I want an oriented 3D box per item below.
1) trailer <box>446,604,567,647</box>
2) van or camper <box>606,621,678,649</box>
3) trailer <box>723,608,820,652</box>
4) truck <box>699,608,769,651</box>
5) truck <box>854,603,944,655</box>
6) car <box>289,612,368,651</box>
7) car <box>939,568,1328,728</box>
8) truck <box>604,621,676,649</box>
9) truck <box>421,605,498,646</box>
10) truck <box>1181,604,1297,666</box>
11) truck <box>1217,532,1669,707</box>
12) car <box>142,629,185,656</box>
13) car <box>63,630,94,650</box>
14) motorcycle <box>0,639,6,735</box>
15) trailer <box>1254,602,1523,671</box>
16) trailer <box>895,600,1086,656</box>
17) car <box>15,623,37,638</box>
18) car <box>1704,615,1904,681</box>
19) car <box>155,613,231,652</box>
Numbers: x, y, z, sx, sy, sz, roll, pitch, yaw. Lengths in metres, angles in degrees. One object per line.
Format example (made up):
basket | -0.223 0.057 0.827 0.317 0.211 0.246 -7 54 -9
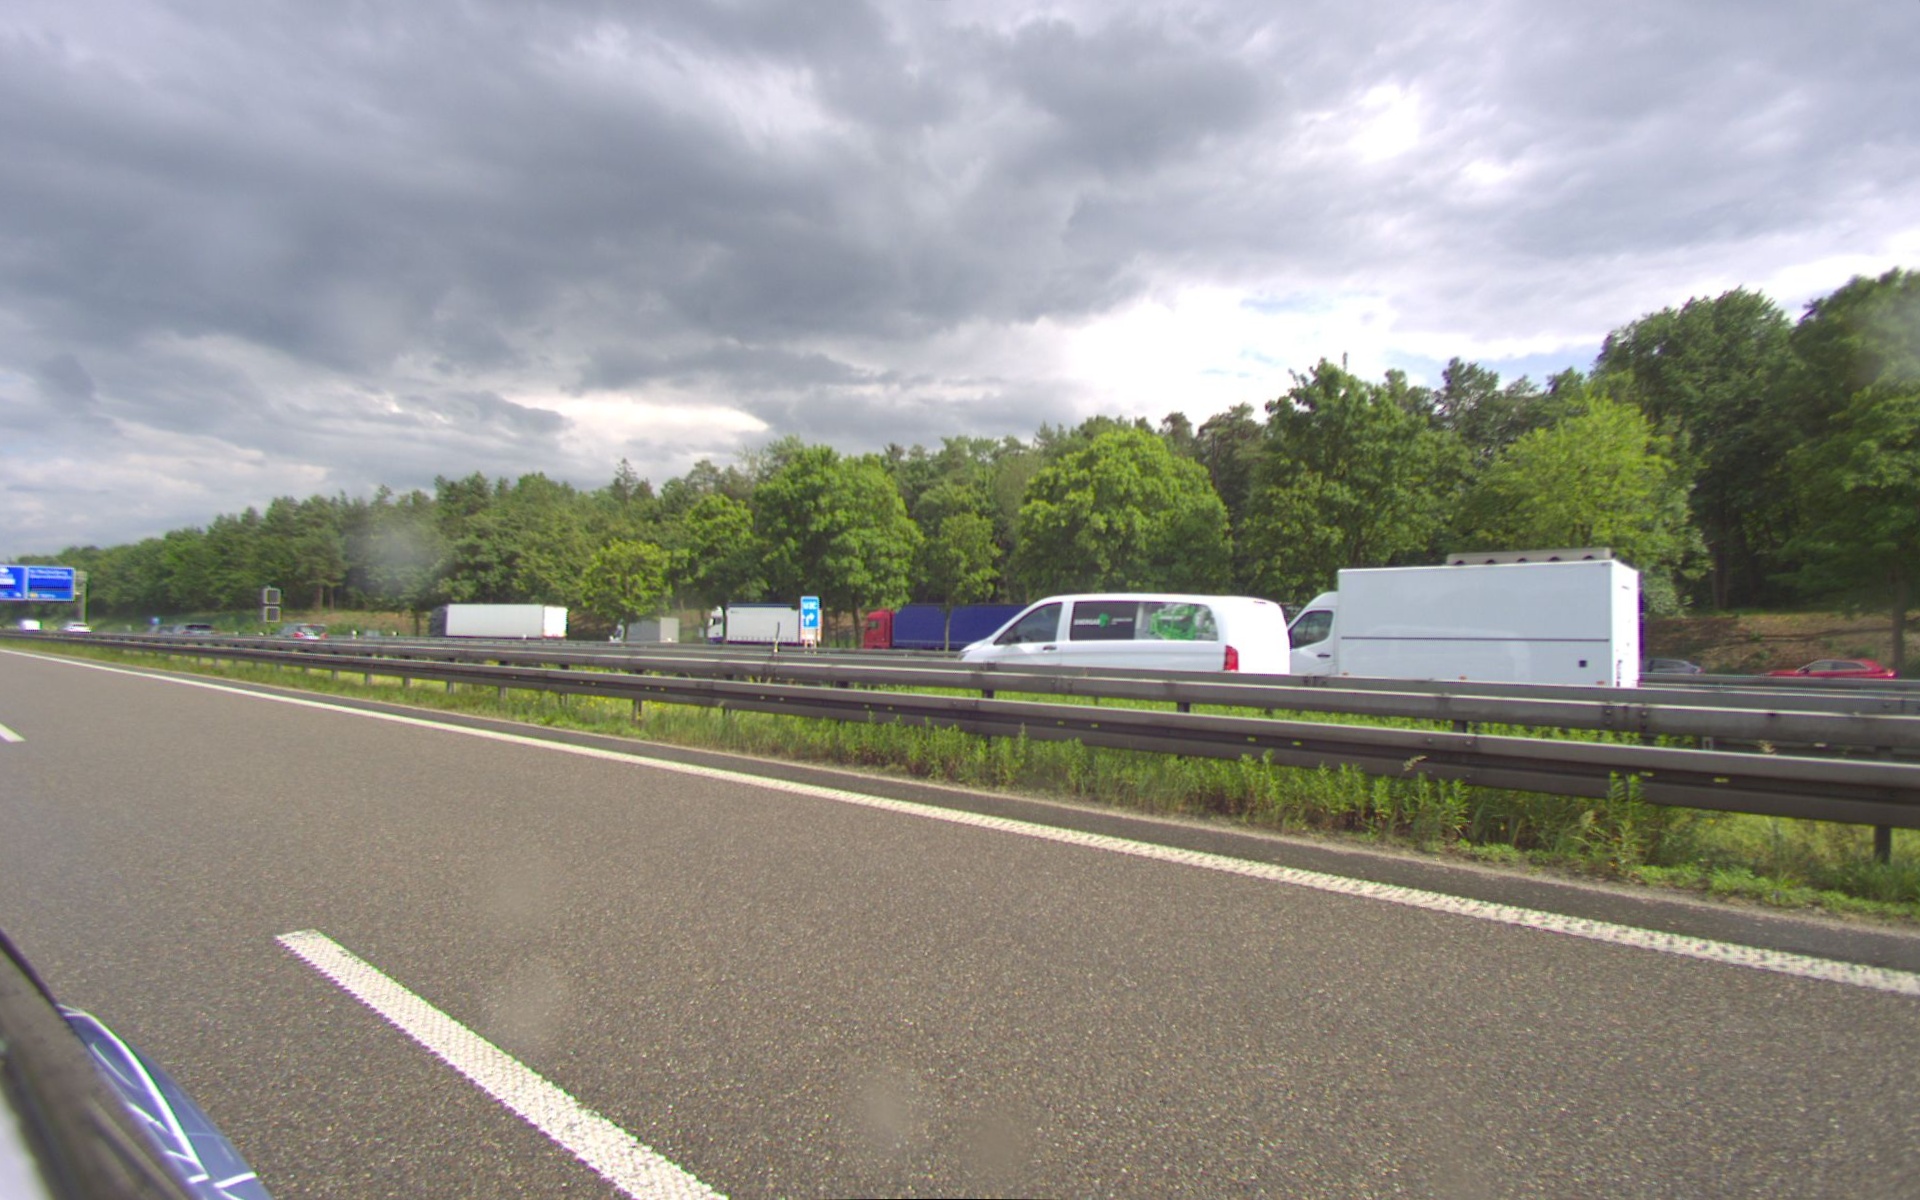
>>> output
trailer | -42.086 2.351 93.736 12.511 3.767 3.184 -1 -2 28
van or camper | -27.106 2.950 86.117 6.296 2.282 2.104 -1 -1 29
trailer | -14.663 2.275 78.300 7.716 3.257 2.559 -1 -2 32
truck | -17.919 2.327 80.255 5.069 3.292 2.634 -1 0 32
truck | -4.322 1.991 71.646 5.883 3.482 2.836 -1 0 35
car | -33.119 1.613 53.060 4.778 1.905 2.276 -1 0 42
car | 2.310 0.591 14.586 5.258 1.905 2.025 -1 0 42
truck | -27.280 2.952 86.148 6.291 2.282 2.104 -1 -1 29
truck | -47.885 2.405 96.799 6.883 3.732 3.188 -1 0 28
truck | 15.846 1.911 57.561 5.500 3.298 3.320 -1 0 38
truck | 8.788 0.322 19.078 7.191 2.702 2.812 -1 0 43
car | -60.942 3.250 77.392 4.778 1.905 1.811 -1 0 42
car | -89.532 4.078 102.742 4.778 1.905 1.811 -1 0 42
motorcycle | -13.932 1.140 13.619 3.191 1.235 1.173 -1 0 39
trailer | 21.883 1.841 52.539 12.463 3.241 3.314 -1 -2 40
trailer | 1.777 1.870 67.335 13.394 3.431 2.798 -1 -2 35
car | -133.866 4.346 145.046 4.778 2.060 1.811 -1 0 42
car | 34.969 1.894 42.096 6.210 2.501 2.763 -1 0 43
car | -40.341 1.656 53.190 4.778 1.905 2.276 -1 0 42
